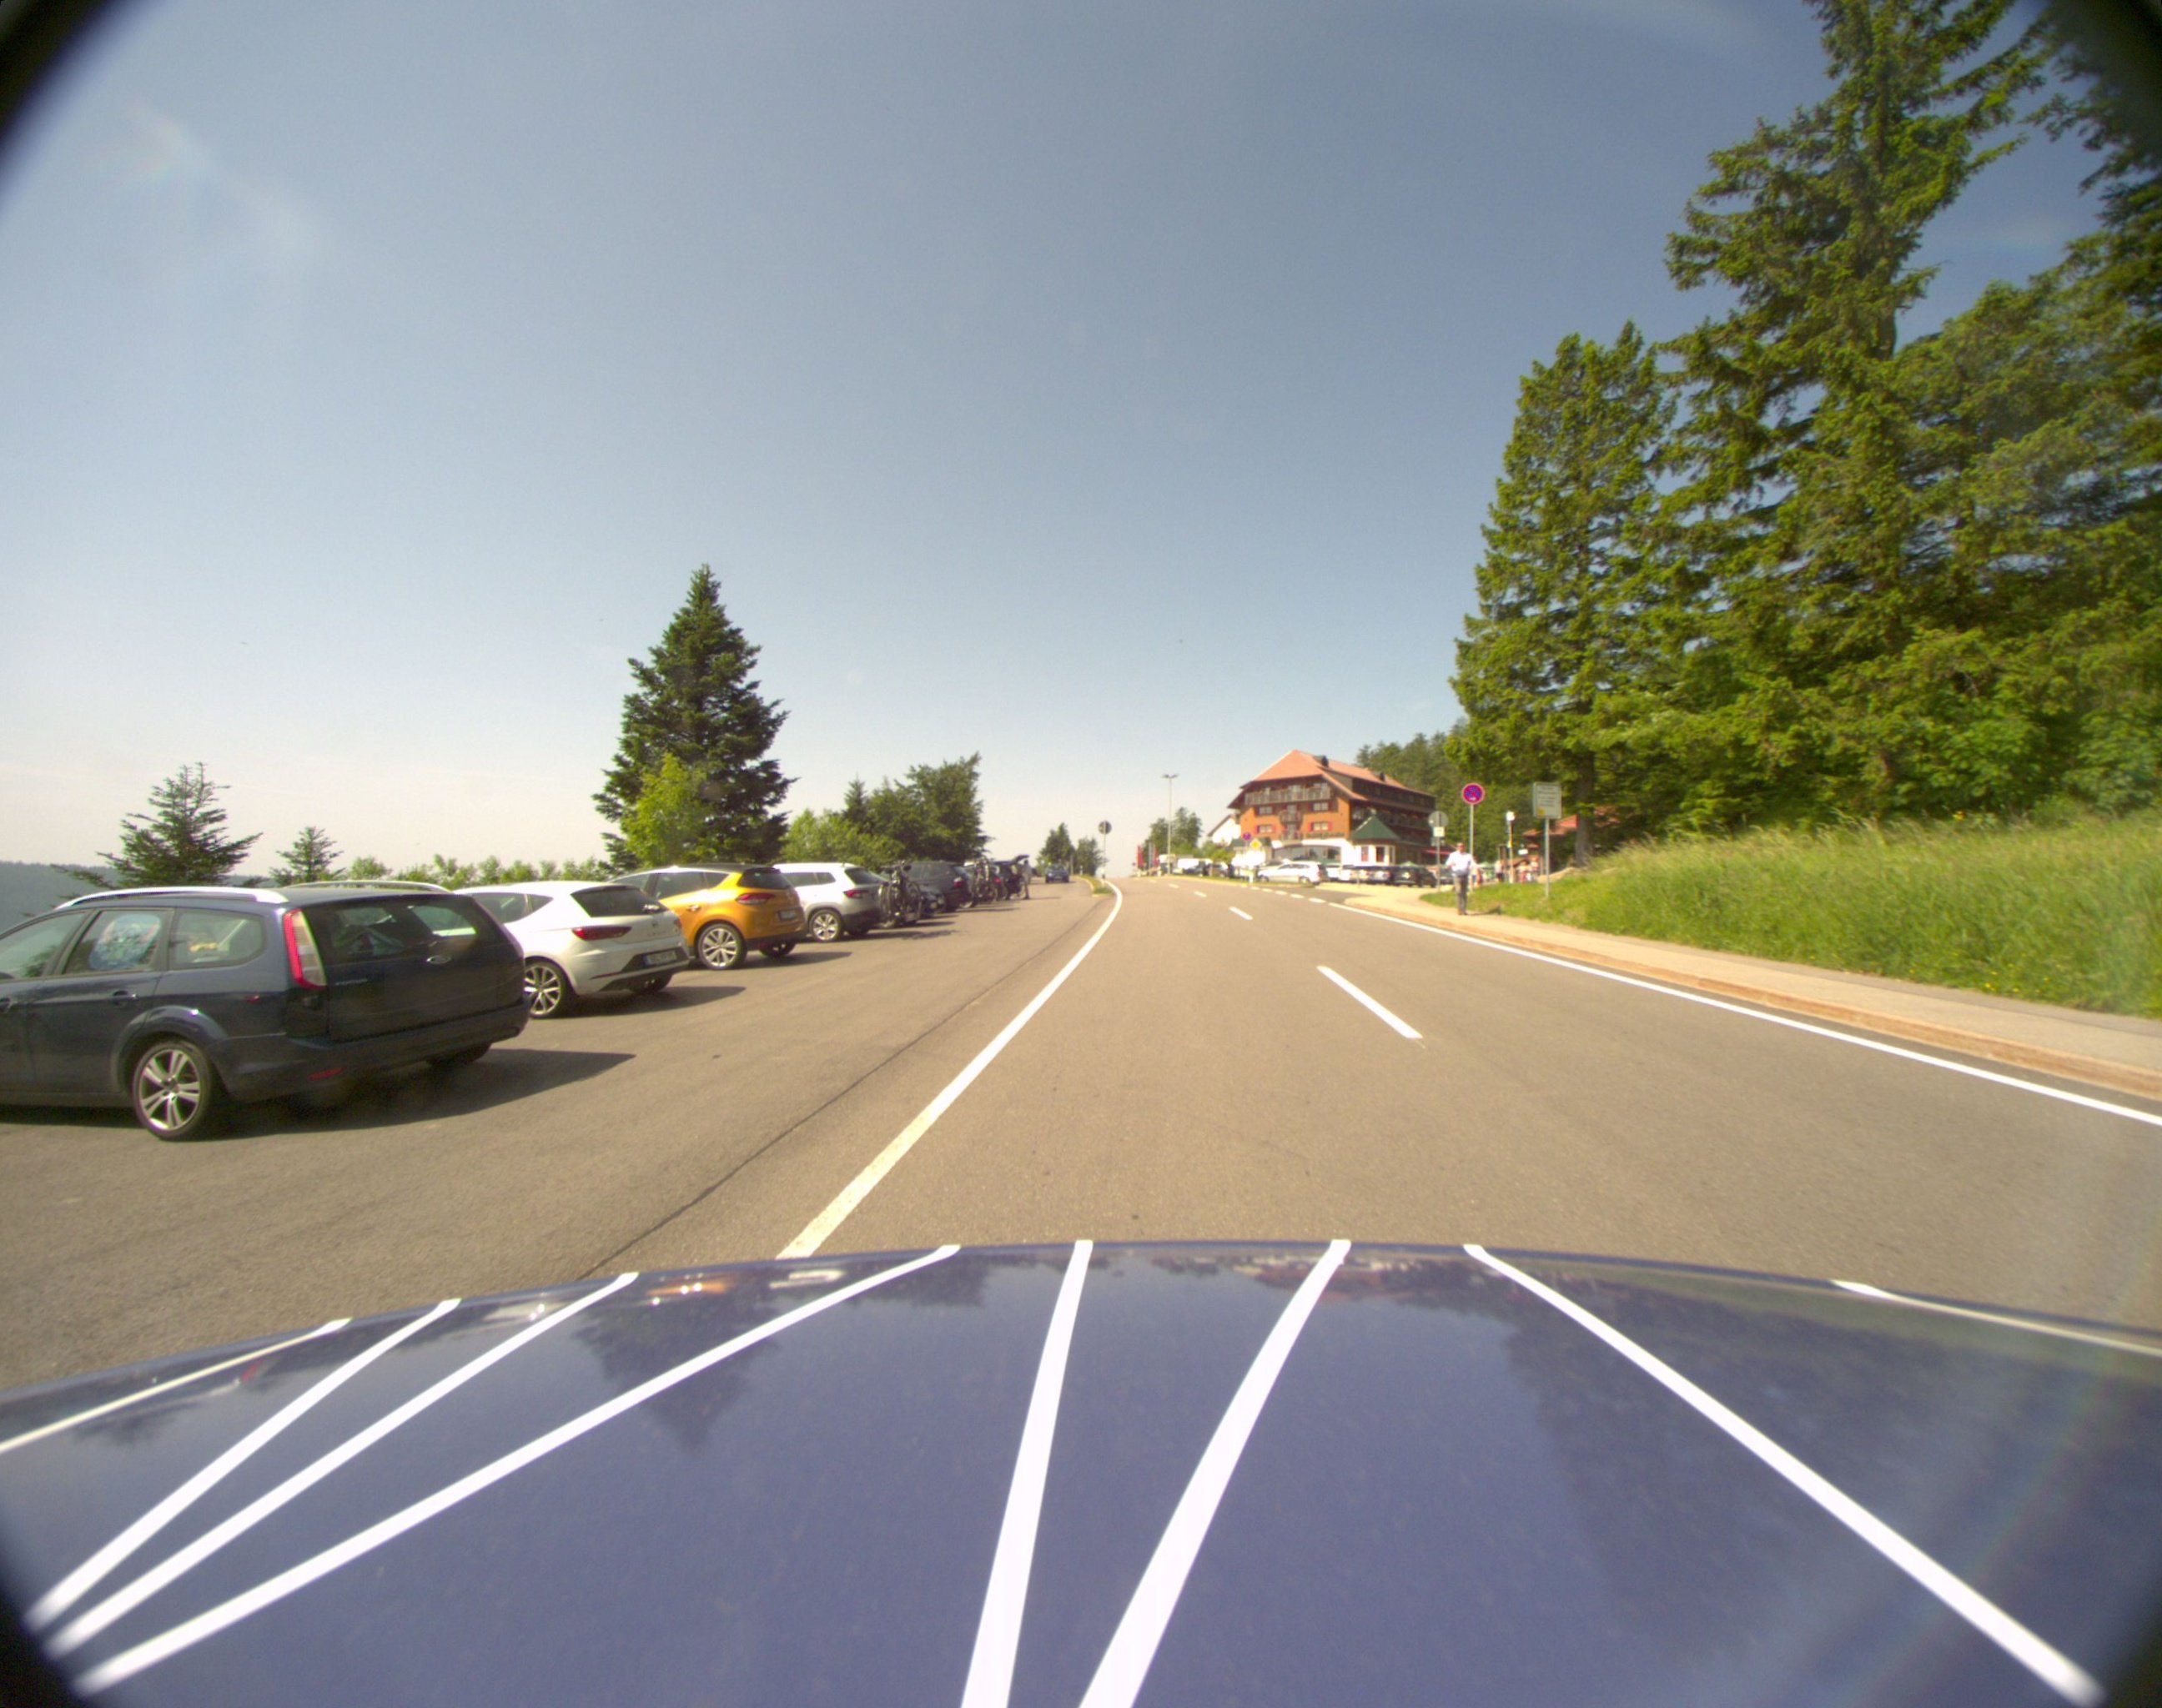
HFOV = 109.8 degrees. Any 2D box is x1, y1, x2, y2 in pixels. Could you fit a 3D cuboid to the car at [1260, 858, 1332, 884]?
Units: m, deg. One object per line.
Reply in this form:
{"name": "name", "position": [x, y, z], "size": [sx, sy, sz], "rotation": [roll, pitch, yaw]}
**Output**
{"name": "car", "position": [13.417, 1.052, 47.479], "size": [3.952, 1.578, 1.794], "rotation": [-1, 0, 40]}

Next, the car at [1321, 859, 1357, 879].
{"name": "car", "position": [21.659, 1.268, 63.823], "size": [1.710, 1.543, 3.141], "rotation": [-1, 0, 44]}

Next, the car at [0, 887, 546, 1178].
{"name": "car", "position": [-6.309, 1.085, 5.366], "size": [4.137, 1.535, 1.673], "rotation": [-2, 0, 10]}

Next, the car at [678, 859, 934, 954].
{"name": "car", "position": [-5.563, 1.035, 15.760], "size": [4.485, 1.617, 2.014], "rotation": [-3, 0, 4]}

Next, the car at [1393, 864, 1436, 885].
{"name": "car", "position": [22.591, 1.354, 51.426], "size": [1.708, 1.387, 3.323], "rotation": [-1, -1, 41]}

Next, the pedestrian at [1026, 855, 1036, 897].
{"name": "pedestrian", "position": [-2.187, 0.946, 33.363], "size": [0.367, 1.812, 0.549], "rotation": [-1, 0, 3]}

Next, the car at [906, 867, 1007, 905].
{"name": "car", "position": [-4.855, 1.252, 30.027], "size": [3.684, 1.343, 1.738], "rotation": [-2, 0, -3]}

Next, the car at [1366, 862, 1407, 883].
{"name": "car", "position": [21.854, 1.301, 54.294], "size": [1.714, 1.425, 3.323], "rotation": [-1, -1, 41]}

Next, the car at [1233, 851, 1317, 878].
{"name": "car", "position": [13.721, 0.739, 53.851], "size": [5.349, 1.858, 2.004], "rotation": [-1, 0, 35]}

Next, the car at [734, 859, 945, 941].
{"name": "car", "position": [-5.749, 1.072, 18.372], "size": [4.428, 1.609, 1.753], "rotation": [-4, 0, 4]}

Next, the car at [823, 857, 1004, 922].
{"name": "car", "position": [-5.204, 1.097, 23.983], "size": [5.112, 1.610, 2.001], "rotation": [-4, 0, 5]}

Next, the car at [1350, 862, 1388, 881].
{"name": "car", "position": [21.828, 1.323, 57.553], "size": [1.636, 1.425, 3.323], "rotation": [-1, -1, 41]}

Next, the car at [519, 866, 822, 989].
{"name": "car", "position": [-6.425, 1.116, 12.129], "size": [3.885, 1.606, 1.710], "rotation": [-4, 0, 6]}

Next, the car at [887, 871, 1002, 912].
{"name": "car", "position": [-4.771, 1.304, 26.836], "size": [3.707, 1.261, 1.565], "rotation": [-3, -1, 3]}

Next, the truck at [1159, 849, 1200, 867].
{"name": "truck", "position": [16.455, 0.667, 126.650], "size": [2.862, 2.813, 8.779], "rotation": [-1, 0, 37]}

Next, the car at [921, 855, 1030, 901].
{"name": "car", "position": [-4.499, 1.026, 32.843], "size": [4.322, 1.811, 2.001], "rotation": [-2, 0, 3]}

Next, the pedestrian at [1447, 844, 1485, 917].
{"name": "pedestrian", "position": [9.270, 0.629, 18.311], "size": [0.580, 1.731, 0.687], "rotation": [-1, 0, 1]}

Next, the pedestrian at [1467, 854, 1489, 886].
{"name": "pedestrian", "position": [21.505, 0.850, 41.141], "size": [0.638, 1.731, 0.910], "rotation": [-1, 0, -42]}

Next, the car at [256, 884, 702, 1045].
{"name": "car", "position": [-6.652, 1.195, 8.612], "size": [3.891, 1.412, 1.614], "rotation": [-3, 1, 7]}

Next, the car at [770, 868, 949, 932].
{"name": "car", "position": [-6.040, 1.247, 20.963], "size": [4.321, 1.423, 1.691], "rotation": [-4, 0, 7]}

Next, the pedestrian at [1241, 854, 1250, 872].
{"name": "pedestrian", "position": [16.039, 0.855, 73.875], "size": [0.779, 1.689, 0.684], "rotation": [-1, 0, 6]}

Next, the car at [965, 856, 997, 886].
{"name": "car", "position": [-6.614, 1.108, 50.474], "size": [1.867, 1.830, 3.881], "rotation": [-1, 0, -4]}

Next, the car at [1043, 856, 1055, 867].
{"name": "car", "position": [-5.930, 1.362, 139.406], "size": [1.999, 2.002, 3.998], "rotation": [-1, 0, -4]}

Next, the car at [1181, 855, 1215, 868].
{"name": "car", "position": [18.321, 1.212, 119.175], "size": [5.248, 1.894, 2.001], "rotation": [-1, 0, 8]}

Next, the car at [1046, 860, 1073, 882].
{"name": "car", "position": [-1.652, 1.256, 58.495], "size": [1.999, 1.537, 3.999], "rotation": [-1, 0, -2]}

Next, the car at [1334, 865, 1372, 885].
{"name": "car", "position": [21.902, 1.677, 61.054], "size": [1.727, 1.457, 3.528], "rotation": [-1, 0, 40]}

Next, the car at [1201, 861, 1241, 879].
{"name": "car", "position": [13.430, 1.519, 72.984], "size": [1.720, 1.583, 3.325], "rotation": [-1, 0, -43]}

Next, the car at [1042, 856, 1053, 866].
{"name": "car", "position": [-6.351, 1.345, 144.093], "size": [1.952, 1.970, 4.069], "rotation": [-1, 0, -6]}
